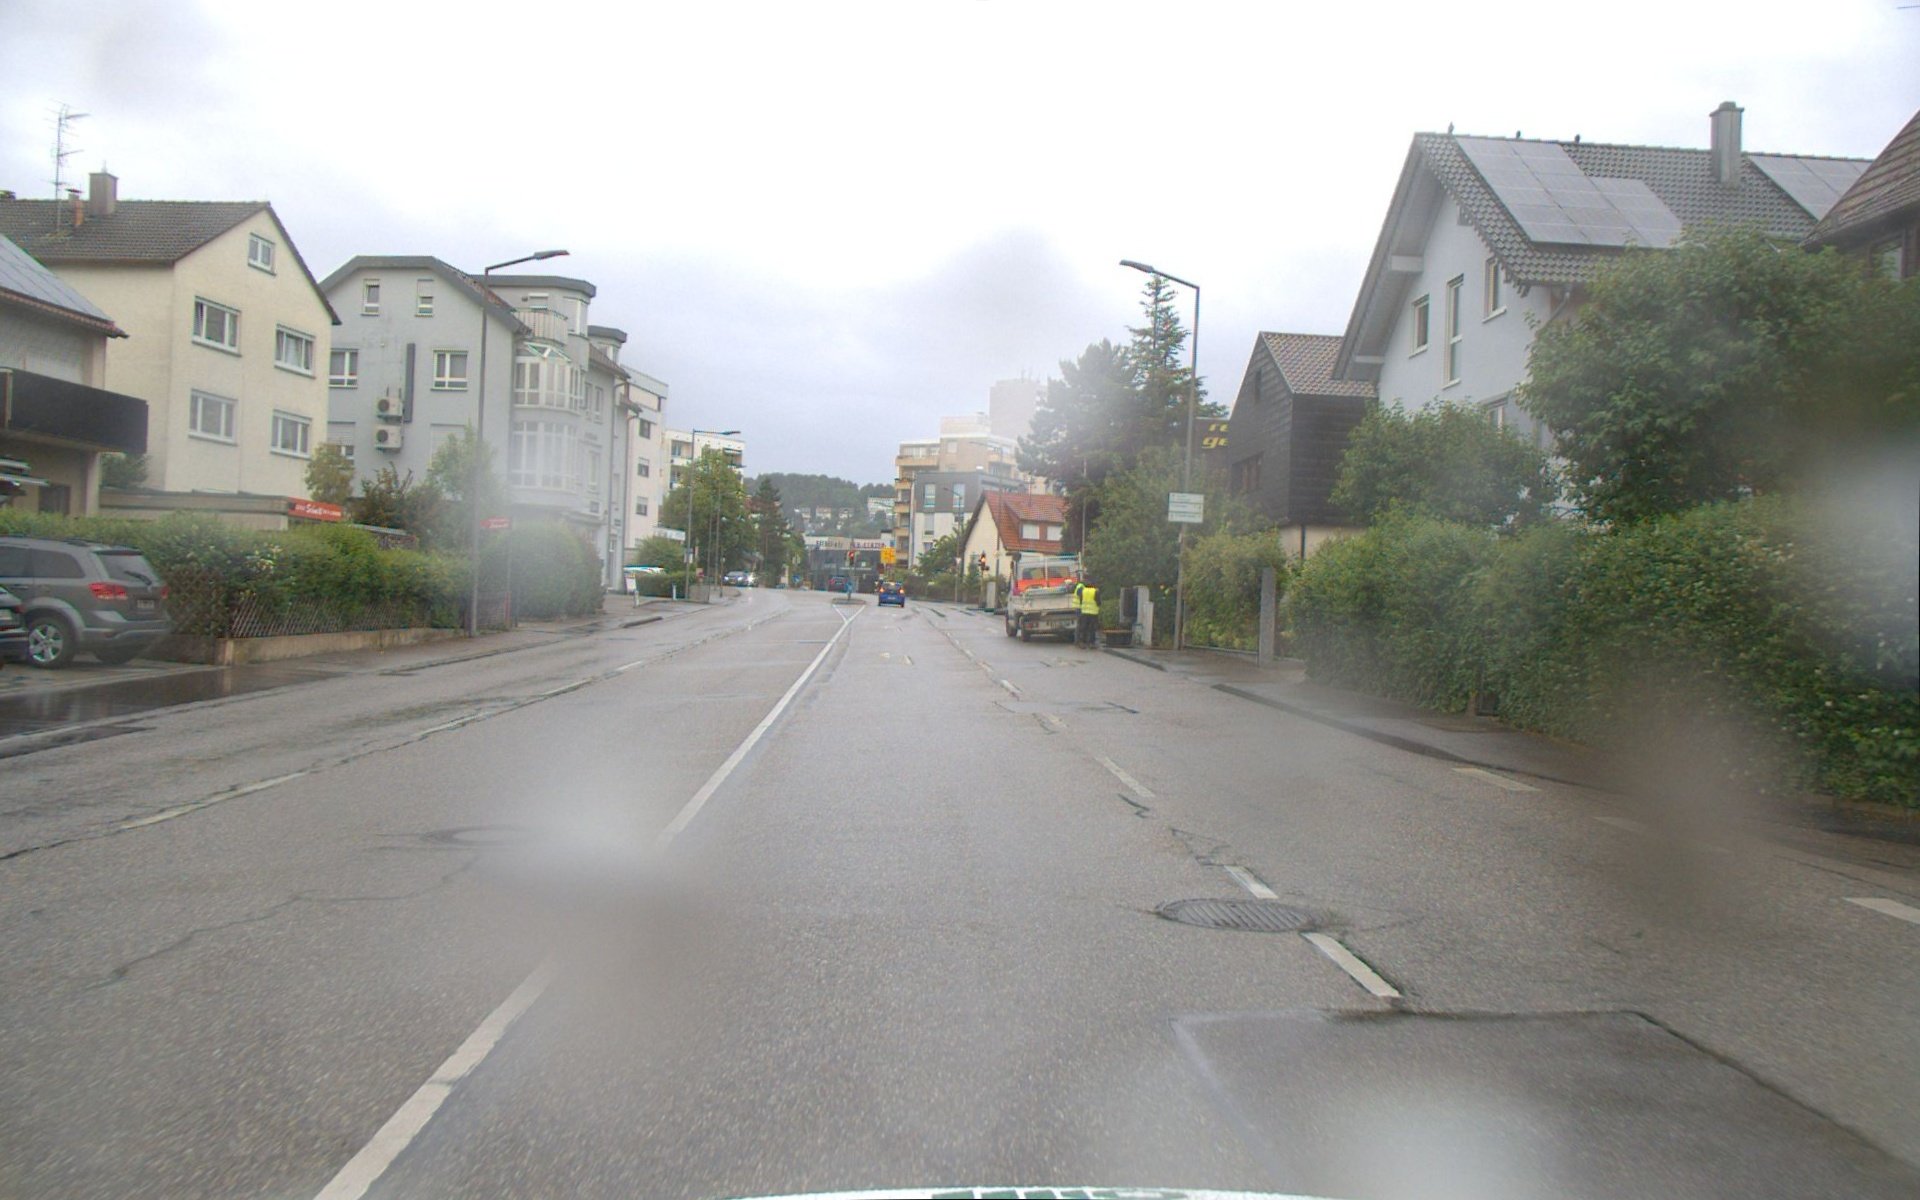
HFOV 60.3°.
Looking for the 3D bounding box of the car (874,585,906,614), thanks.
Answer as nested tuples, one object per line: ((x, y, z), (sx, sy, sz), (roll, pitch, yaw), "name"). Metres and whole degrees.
((-4.230, -0.053, 100.359), (1.757, 1.699, 4.000), (2, 0, 0), "car")

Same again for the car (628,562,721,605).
((-15.328, -0.890, 88.817), (4.426, 2.048, 2.002), (3, 0, 12), "car")

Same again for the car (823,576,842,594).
((-12.430, -1.447, 161.026), (1.548, 1.462, 3.998), (6, -1, -2), "car")

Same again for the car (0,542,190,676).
((-12.928, 0.094, 22.656), (3.902, 1.716, 1.810), (1, -1, 7), "car")

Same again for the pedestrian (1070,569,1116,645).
((3.249, 0.171, 40.435), (0.811, 1.828, 0.796), (2, 0, -20), "pedestrian")

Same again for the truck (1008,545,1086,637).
((2.323, -0.235, 45.067), (1.952, 2.344, 4.001), (2, 0, 1), "truck")

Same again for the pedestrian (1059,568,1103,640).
((3.026, 0.089, 41.348), (0.810, 1.756, 0.836), (2, 0, -20), "pedestrian")

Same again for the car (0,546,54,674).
((-12.970, 0.073, 19.259), (3.903, 1.471, 1.707), (1, -1, 5), "car")

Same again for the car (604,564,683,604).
((-17.959, -0.915, 93.947), (3.902, 2.048, 2.002), (3, 0, 9), "car")

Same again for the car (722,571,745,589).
((-21.532, -1.927, 157.381), (1.627, 1.488, 3.998), (6, -1, -2), "car")
